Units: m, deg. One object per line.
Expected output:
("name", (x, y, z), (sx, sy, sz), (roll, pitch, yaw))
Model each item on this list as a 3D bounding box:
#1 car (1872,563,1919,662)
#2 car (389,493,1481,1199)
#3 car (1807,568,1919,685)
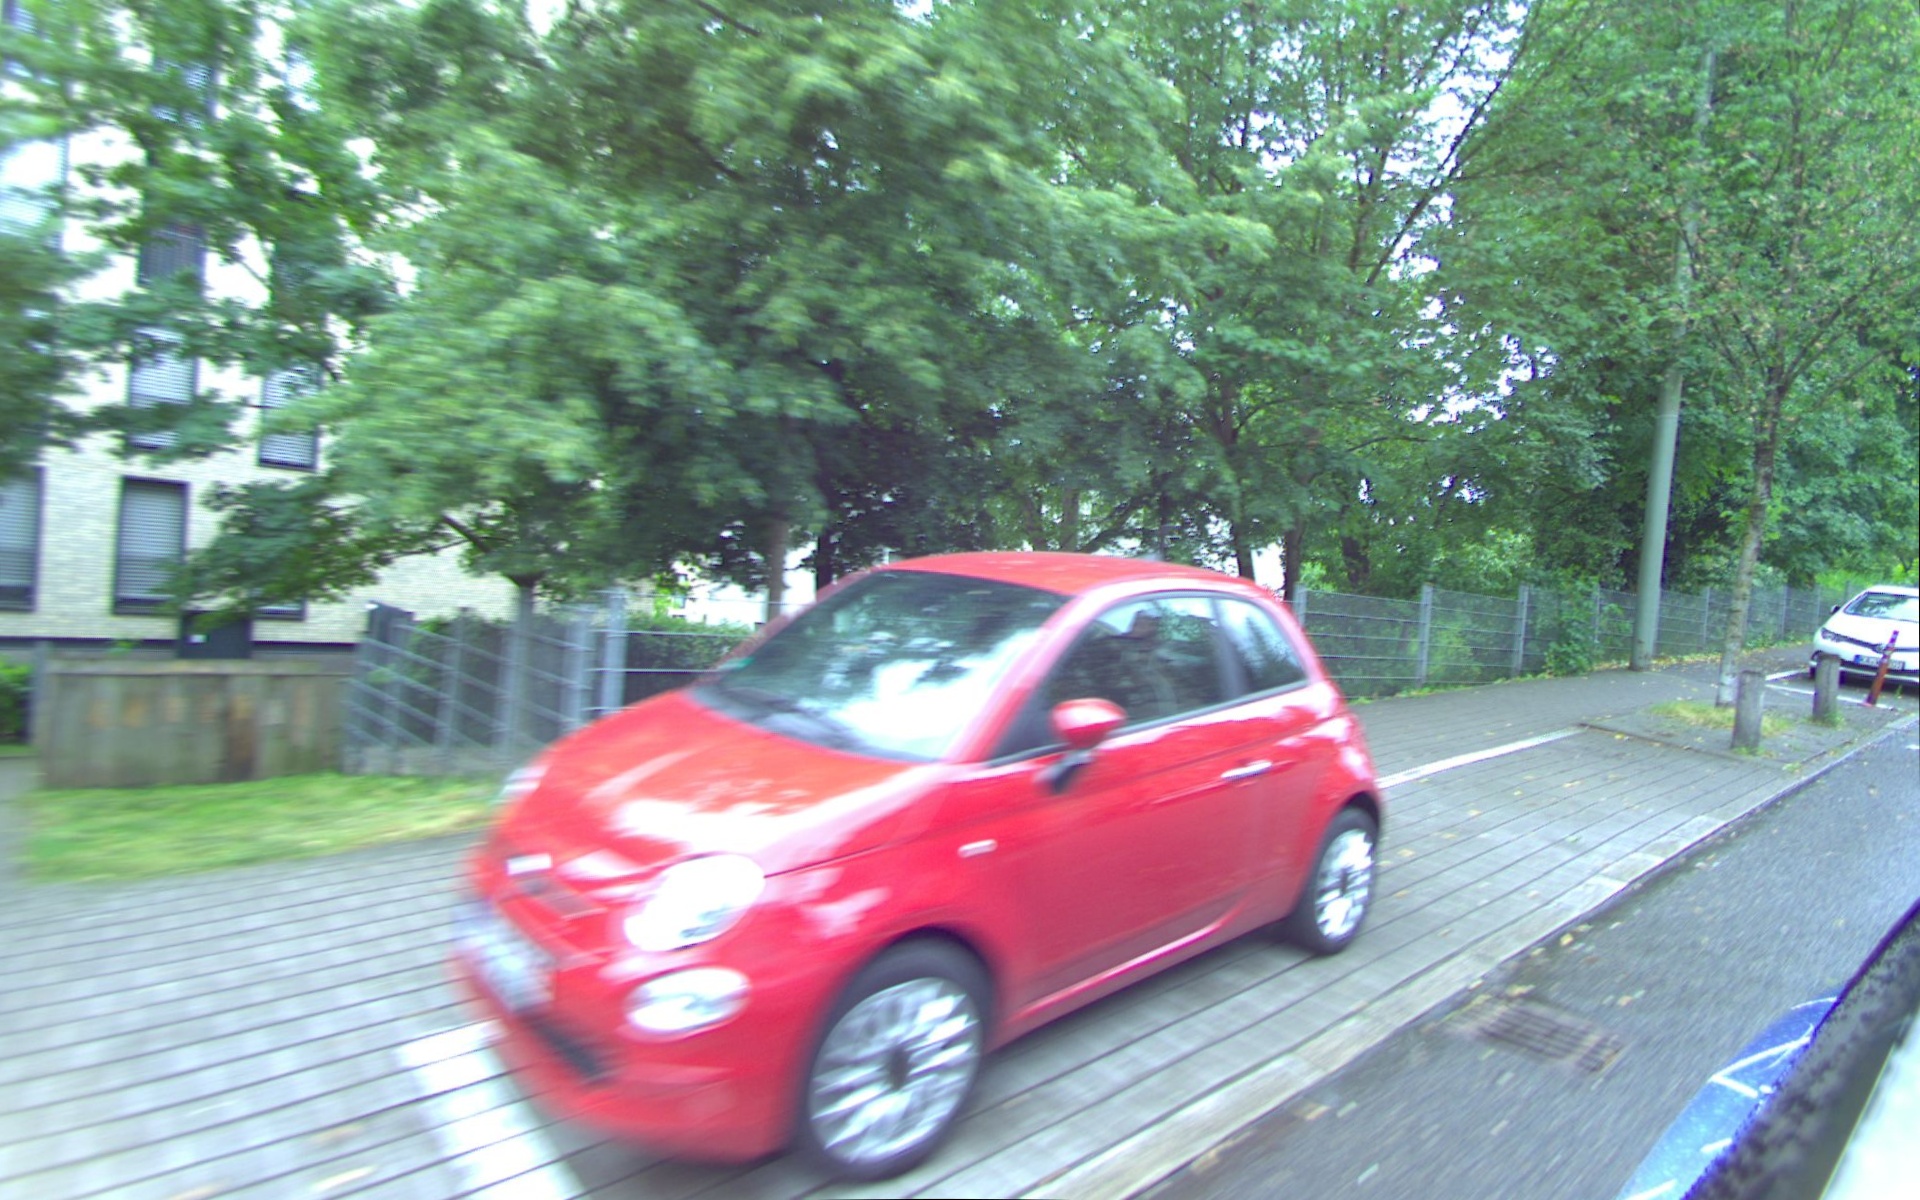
("car", (18.892, 0.330, 18.796), (4.793, 1.670, 1.928), (1, 6, -38))
("car", (0.270, 0.524, 3.763), (3.890, 1.520, 1.613), (1, 4, -42))
("car", (14.743, 0.416, 15.453), (4.795, 1.479, 1.748), (1, 6, -39))
